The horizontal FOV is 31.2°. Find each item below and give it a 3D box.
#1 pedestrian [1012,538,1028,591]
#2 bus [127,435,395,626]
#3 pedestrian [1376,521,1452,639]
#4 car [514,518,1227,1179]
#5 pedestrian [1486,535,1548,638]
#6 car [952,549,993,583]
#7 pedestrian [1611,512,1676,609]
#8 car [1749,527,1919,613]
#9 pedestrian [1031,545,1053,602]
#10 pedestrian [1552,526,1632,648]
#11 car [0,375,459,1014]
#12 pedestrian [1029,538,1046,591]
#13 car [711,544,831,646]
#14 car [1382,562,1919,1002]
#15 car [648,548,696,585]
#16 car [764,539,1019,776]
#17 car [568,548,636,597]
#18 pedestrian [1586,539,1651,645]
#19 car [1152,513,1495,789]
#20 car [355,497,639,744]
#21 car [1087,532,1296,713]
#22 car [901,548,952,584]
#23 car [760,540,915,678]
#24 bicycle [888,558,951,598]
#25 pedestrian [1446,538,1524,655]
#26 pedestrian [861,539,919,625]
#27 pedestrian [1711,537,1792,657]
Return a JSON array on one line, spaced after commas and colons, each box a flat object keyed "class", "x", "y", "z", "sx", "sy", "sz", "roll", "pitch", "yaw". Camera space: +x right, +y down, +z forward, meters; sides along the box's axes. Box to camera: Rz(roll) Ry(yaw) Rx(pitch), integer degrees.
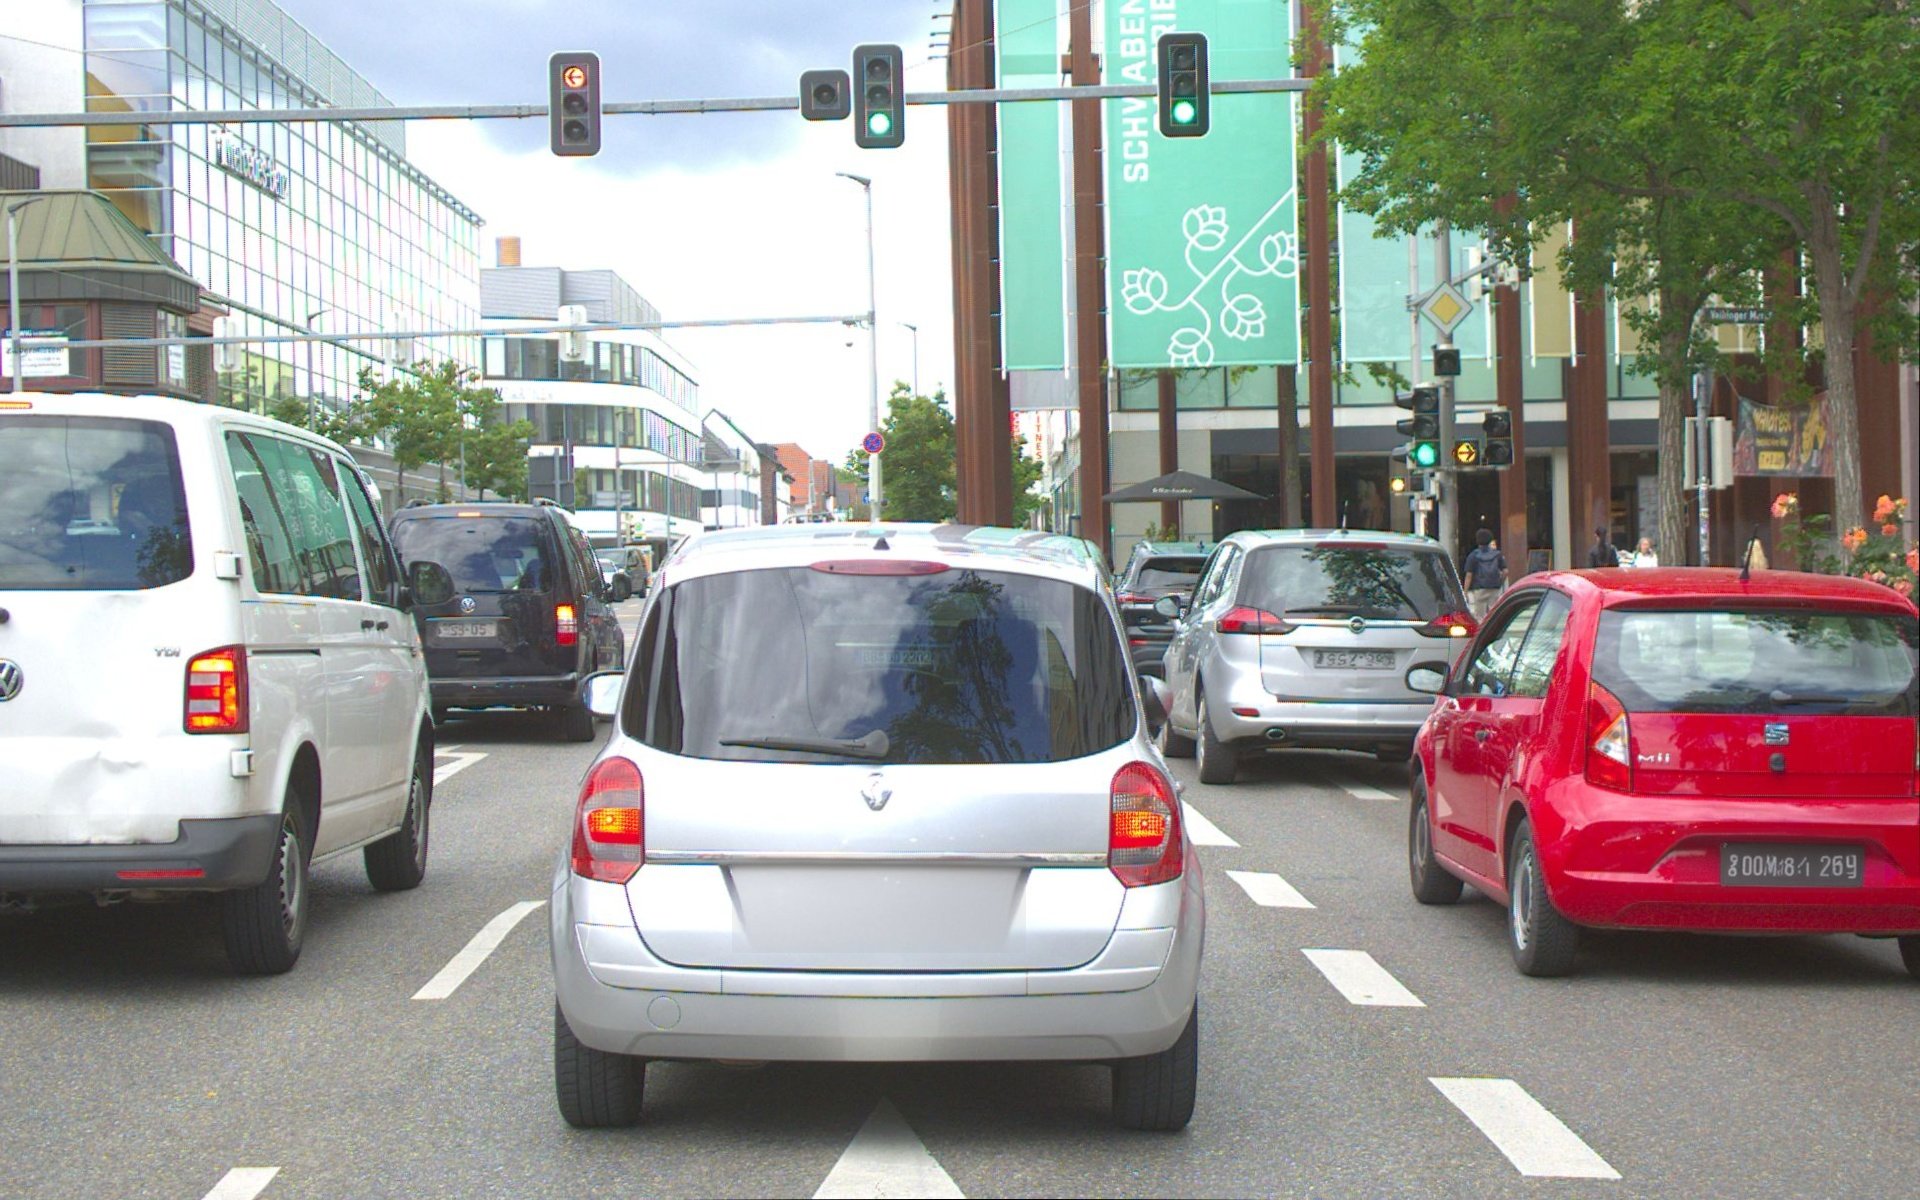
[{"class": "pedestrian", "x": 1.753, "y": -1.040, "z": 100.405, "sx": 0.427, "sy": 1.544, "sz": 0.481, "roll": -1, "pitch": 1, "yaw": -2}, {"class": "bus", "x": -13.752, "y": -1.377, "z": 68.809, "sx": 2.987, "sy": 3.316, "sz": 12.307, "roll": -3, "pitch": 1, "yaw": -1}, {"class": "pedestrian", "x": 6.578, "y": -0.301, "z": 49.860, "sx": 0.878, "sy": 1.675, "sz": 1.120, "roll": -1, "pitch": 1, "yaw": -3}, {"class": "car", "x": -0.234, "y": 0.563, "z": 10.001, "sx": 1.669, "sy": 1.549, "sz": 3.642, "roll": 1, "pitch": 1, "yaw": -1}, {"class": "pedestrian", "x": 8.897, "y": -0.227, "z": 54.907, "sx": 0.741, "sy": 1.620, "sz": 0.954, "roll": -1, "pitch": 1, "yaw": -4}, {"class": "car", "x": 0.570, "y": -1.590, "z": 160.240, "sx": 1.877, "sy": 1.559, "sz": 4.000, "roll": 1, "pitch": 1, "yaw": 0}, {"class": "pedestrian", "x": 11.371, "y": -0.664, "z": 57.217, "sx": 0.821, "sy": 1.589, "sz": 1.039, "roll": -1, "pitch": 1, "yaw": -2}, {"class": "car", "x": 15.467, "y": -0.515, "z": 57.337, "sx": 4.172, "sy": 1.399, "sz": 1.801, "roll": 0, "pitch": 1, "yaw": -3}, {"class": "pedestrian", "x": 1.766, "y": -0.569, "z": 74.356, "sx": 0.447, "sy": 1.216, "sz": 0.606, "roll": -1, "pitch": 1, "yaw": 2}, {"class": "pedestrian", "x": 9.262, "y": -0.198, "z": 50.411, "sx": 0.878, "sy": 1.761, "sz": 1.120, "roll": -1, "pitch": 1, "yaw": -3}, {"class": "car", "x": -3.261, "y": 0.253, "z": 13.237, "sx": 1.993, "sy": 2.007, "sz": 4.840, "roll": 1, "pitch": 1, "yaw": -1}, {"class": "pedestrian", "x": 2.271, "y": -1.033, "z": 100.448, "sx": 0.427, "sy": 1.544, "sz": 0.481, "roll": -1, "pitch": 1, "yaw": -2}, {"class": "car", "x": -2.876, "y": -0.108, "z": 53.013, "sx": 1.669, "sy": 1.490, "sz": 3.642, "roll": 1, "pitch": 1, "yaw": -1}, {"class": "car", "x": 2.720, "y": 0.599, "z": 13.435, "sx": 1.626, "sy": 1.443, "sz": 3.642, "roll": 1, "pitch": 1, "yaw": -1}, {"class": "car", "x": -12.022, "y": -1.426, "z": 143.714, "sx": 1.660, "sy": 1.460, "sz": 4.000, "roll": -2, "pitch": 1, "yaw": 0}, {"class": "car", "x": -0.477, "y": 0.355, "z": 24.674, "sx": 1.669, "sy": 1.549, "sz": 3.642, "roll": 1, "pitch": 1, "yaw": -1}, {"class": "car", "x": -11.401, "y": -0.885, "z": 109.603, "sx": 1.744, "sy": 1.454, "sz": 4.235, "roll": -2, "pitch": 1, "yaw": -1}, {"class": "pedestrian", "x": 10.314, "y": -0.129, "z": 53.856, "sx": 0.741, "sy": 1.620, "sz": 0.954, "roll": -1, "pitch": 1, "yaw": -4}, {"class": "car", "x": 2.389, "y": 0.285, "z": 23.618, "sx": 1.739, "sy": 1.695, "sz": 4.381, "roll": 1, "pitch": 1, "yaw": -2}, {"class": "car", "x": -3.664, "y": 0.118, "z": 27.887, "sx": 1.707, "sy": 1.814, "sz": 4.572, "roll": 1, "pitch": 1, "yaw": -1}, {"class": "car", "x": 2.277, "y": 0.178, "z": 34.788, "sx": 1.739, "sy": 1.695, "sz": 4.381, "roll": 1, "pitch": 1, "yaw": -1}, {"class": "car", "x": -1.271, "y": -1.320, "z": 132.101, "sx": 1.877, "sy": 1.330, "sz": 4.000, "roll": 1, "pitch": 1, "yaw": 0}, {"class": "car", "x": -1.370, "y": 0.074, "z": 39.557, "sx": 1.669, "sy": 1.490, "sz": 3.642, "roll": 1, "pitch": 1, "yaw": -1}, {"class": "bicycle", "x": -1.037, "y": -0.560, "z": 87.977, "sx": 1.561, "sy": 0.989, "sz": 0.752, "roll": -1, "pitch": 1, "yaw": 3}, {"class": "pedestrian", "x": 7.631, "y": -0.061, "z": 50.049, "sx": 0.878, "sy": 1.675, "sz": 1.120, "roll": -1, "pitch": 1, "yaw": -3}, {"class": "pedestrian", "x": -1.355, "y": -0.358, "z": 66.339, "sx": 0.871, "sy": 1.641, "sz": 0.679, "roll": 0, "pitch": 1, "yaw": 34}, {"class": "pedestrian", "x": 11.905, "y": -0.054, "z": 51.730, "sx": 0.878, "sy": 1.761, "sz": 1.120, "roll": -1, "pitch": 1, "yaw": -3}]
